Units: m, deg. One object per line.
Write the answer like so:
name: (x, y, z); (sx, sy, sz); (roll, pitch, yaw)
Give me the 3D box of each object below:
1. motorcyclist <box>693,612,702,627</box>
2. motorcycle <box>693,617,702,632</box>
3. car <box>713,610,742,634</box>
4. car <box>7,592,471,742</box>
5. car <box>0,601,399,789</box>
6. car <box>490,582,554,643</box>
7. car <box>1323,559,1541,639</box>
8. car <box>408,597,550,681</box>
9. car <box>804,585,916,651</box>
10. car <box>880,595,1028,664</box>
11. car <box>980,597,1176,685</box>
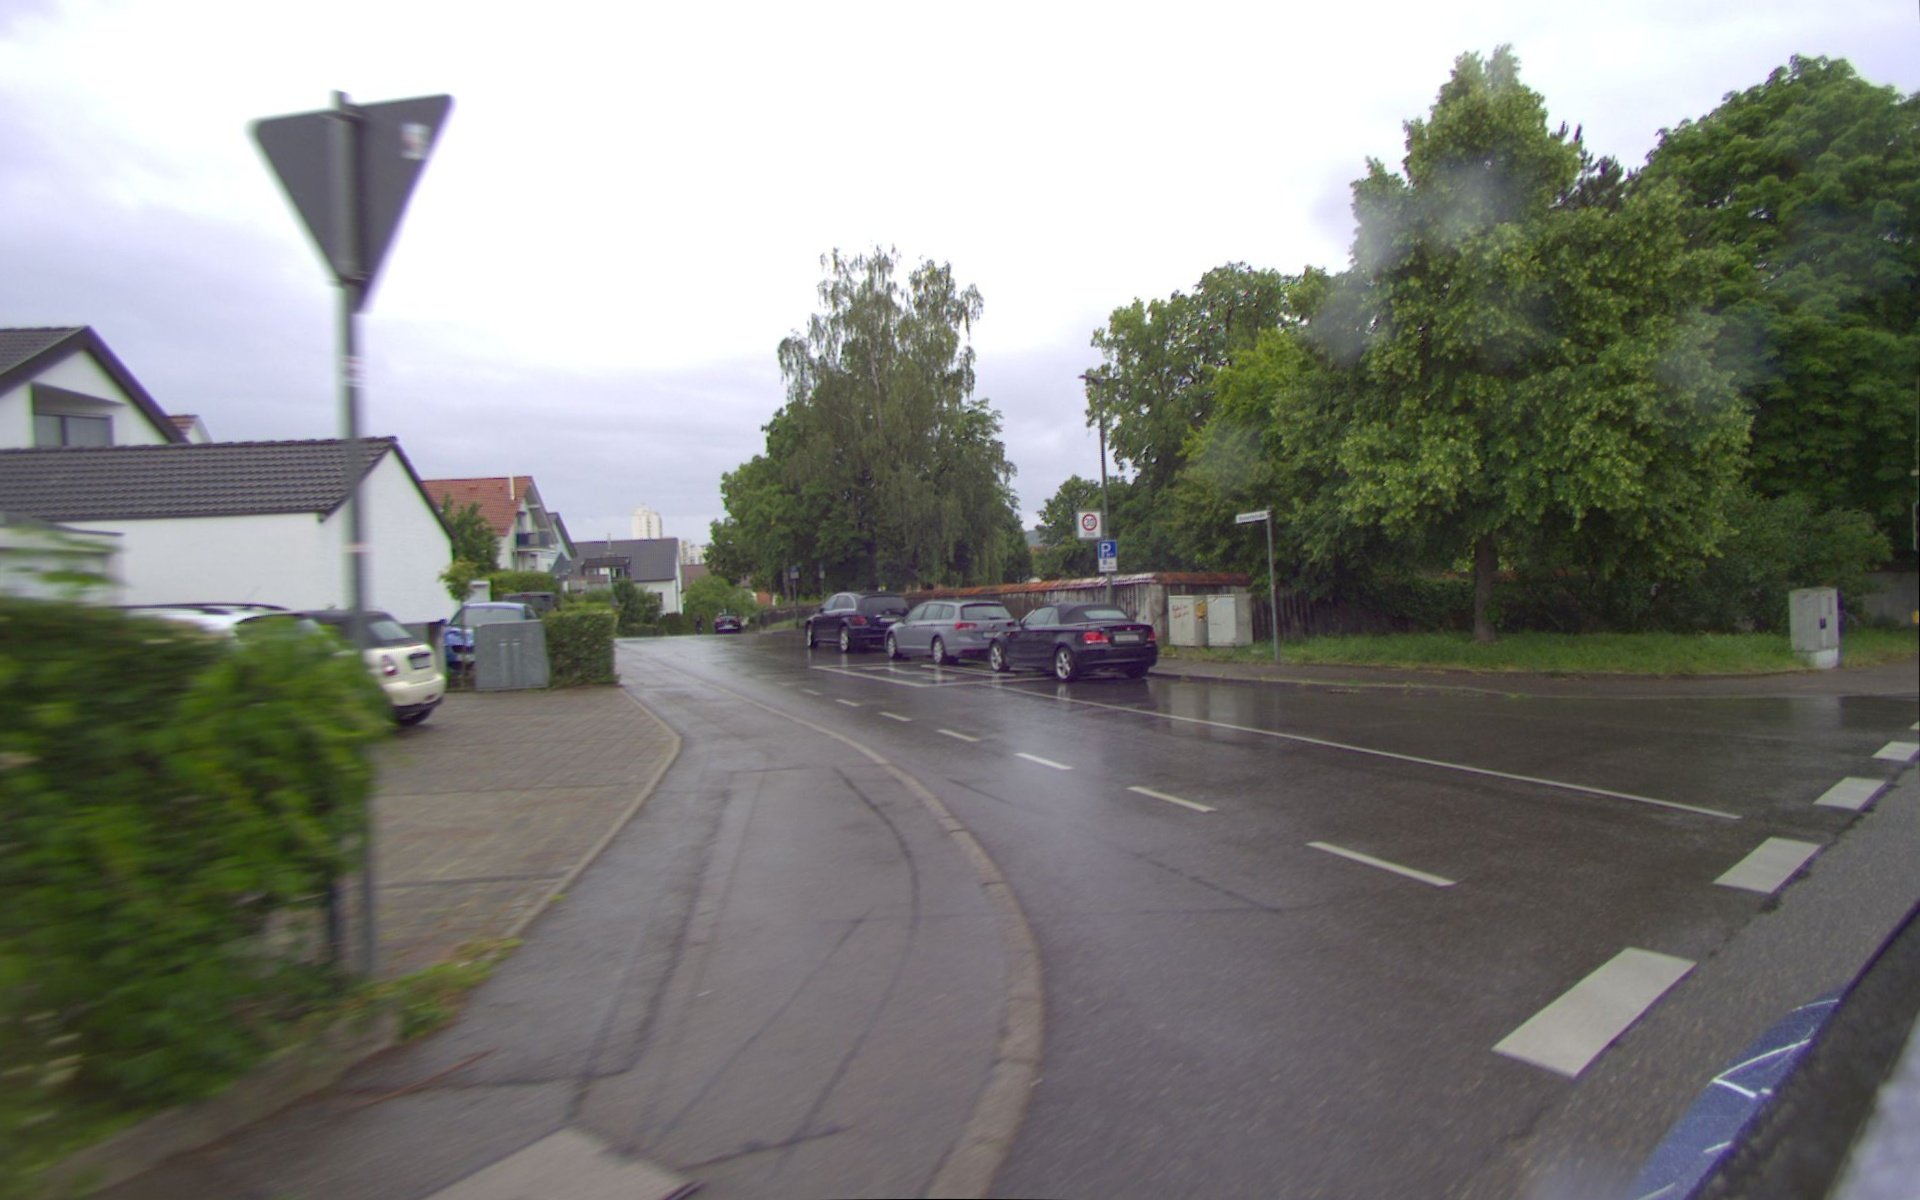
motorcyclist: (-18.428, 1.381, 71.087); (0.626, 0.988, 0.491); (0, 0, -13)
motorcycle: (-18.443, 1.701, 71.141); (0.626, 0.988, 1.509); (0, 0, -13)
car: (-14.938, 1.412, 65.156); (1.676, 1.527, 3.789); (0, -1, -10)
car: (-8.093, 0.707, 11.716); (3.921, 1.549, 2.002); (0, 1, -4)
car: (-7.539, 0.753, 8.939); (4.068, 1.415, 2.002); (0, 1, -5)
car: (-15.824, 0.400, 36.730); (1.958, 2.038, 4.009); (0, 2, -21)
car: (9.473, -0.086, 20.702); (1.815, 1.473, 4.009); (0, 2, -17)
car: (-9.500, 0.703, 20.299); (1.830, 1.482, 4.008); (0, 0, -14)
car: (-2.978, 0.483, 29.193); (1.795, 1.749, 4.472); (0, 0, -26)
car: (-0.255, 0.643, 23.964); (1.795, 1.460, 4.402); (0, 0, -26)
car: (2.102, 0.697, 19.299); (1.795, 1.460, 4.172); (0, 0, -24)
